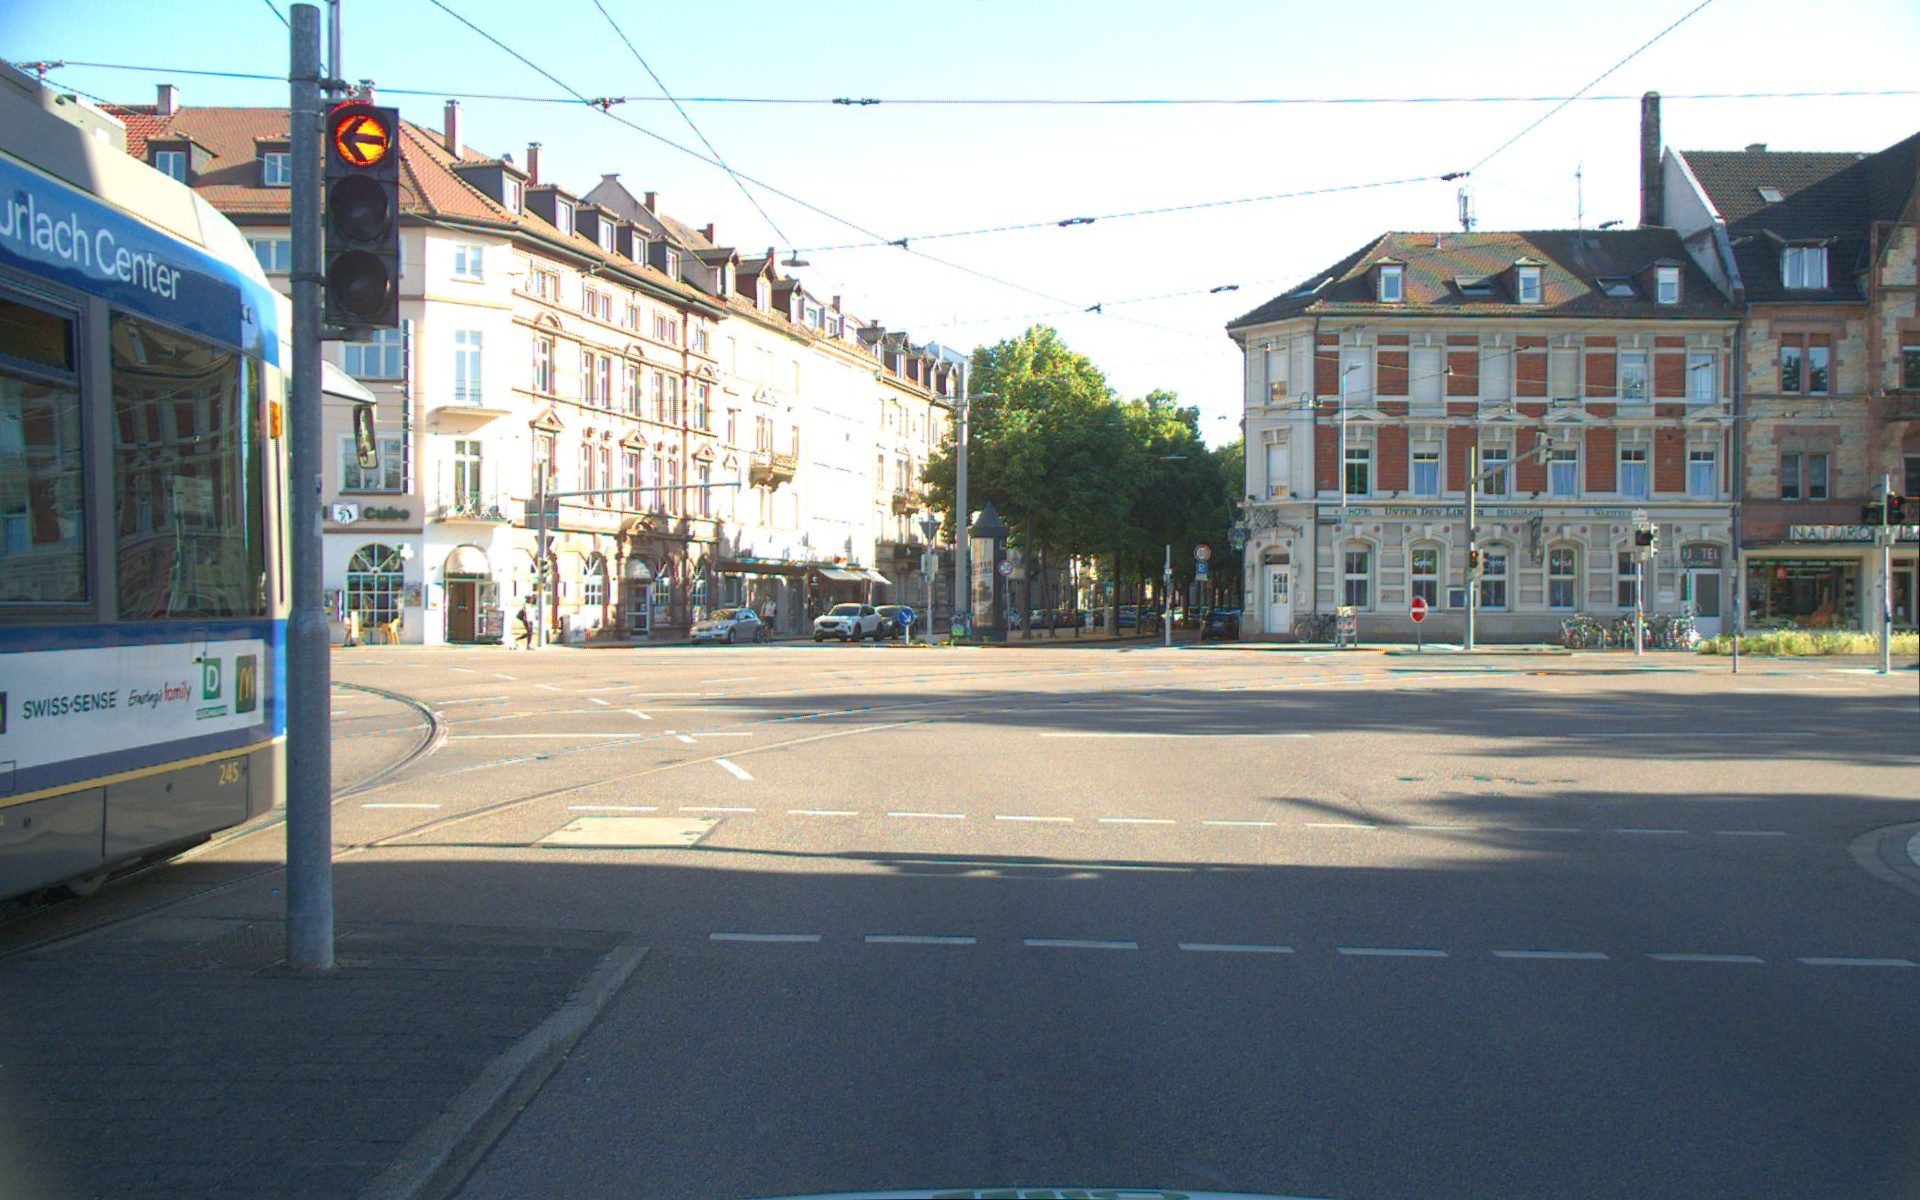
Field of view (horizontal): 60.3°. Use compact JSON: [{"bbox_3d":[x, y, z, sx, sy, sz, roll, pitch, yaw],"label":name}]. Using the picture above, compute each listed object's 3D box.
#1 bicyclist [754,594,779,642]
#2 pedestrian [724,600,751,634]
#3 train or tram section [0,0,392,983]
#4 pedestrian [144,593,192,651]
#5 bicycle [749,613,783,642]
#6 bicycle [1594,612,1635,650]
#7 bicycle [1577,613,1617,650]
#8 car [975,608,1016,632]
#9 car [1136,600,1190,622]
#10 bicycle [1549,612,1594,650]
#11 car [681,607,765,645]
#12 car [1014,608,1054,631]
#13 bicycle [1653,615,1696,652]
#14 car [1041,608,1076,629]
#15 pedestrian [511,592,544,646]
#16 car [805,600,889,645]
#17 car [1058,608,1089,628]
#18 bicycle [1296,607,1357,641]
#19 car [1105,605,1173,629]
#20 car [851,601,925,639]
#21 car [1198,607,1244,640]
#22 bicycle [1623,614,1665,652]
[{"bbox_3d":[-7.587,0.689,64.906,0.664,1.852,1.071,0,0,12],"label":"bicyclist"},{"bbox_3d":[-10.273,0.769,76.378,0.908,1.562,1.138,0,0,13],"label":"pedestrian"},{"bbox_3d":[-4.626,-0.450,3.777,2.714,3.561,12.027,0,0,-1],"label":"train or tram section"},{"bbox_3d":[-24.895,0.676,51.981,0.985,1.806,0.942,0,0,14],"label":"pedestrian"},{"bbox_3d":[-7.598,1.076,64.864,0.665,1.085,2.127,0,0,12],"label":"bicycle"},{"bbox_3d":[21.163,0.996,53.484,0.605,1.163,2.175,0,0,4],"label":"bicycle"},{"bbox_3d":[20.591,1.002,53.514,0.605,1.163,2.175,0,0,4],"label":"bicycle"},{"bbox_3d":[2.410,1.316,110.965,1.951,1.512,4.003,0,0,13],"label":"car"},{"bbox_3d":[16.416,0.876,133.847,3.912,1.736,1.996,0,0,30],"label":"car"},{"bbox_3d":[19.819,0.991,53.633,0.789,1.163,2.175,0,0,4],"label":"bicycle"},{"bbox_3d":[-9.528,1.029,66.874,1.858,1.481,4.002,0,0,17],"label":"car"},{"bbox_3d":[5.525,1.415,122.713,1.951,1.640,4.393,0,0,17],"label":"car"},{"bbox_3d":[23.035,1.062,53.373,0.596,1.156,2.136,0,0,4],"label":"bicycle"},{"bbox_3d":[7.778,1.412,130.537,1.798,1.579,4.393,0,0,16],"label":"car"},{"bbox_3d":[-14.340,0.631,54.885,1.028,1.774,0.806,0,0,-13],"label":"pedestrian"},{"bbox_3d":[-4.545,0.879,67.228,1.951,1.713,4.393,0,0,17],"label":"car"},{"bbox_3d":[9.390,1.451,136.438,1.727,1.576,4.394,0,0,16],"label":"car"},{"bbox_3d":[12.749,0.819,57.557,2.045,1.144,0.366,1,-1,-5],"label":"bicycle"},{"bbox_3d":[12.498,1.185,115.514,4.290,1.640,1.998,0,0,26],"label":"car"},{"bbox_3d":[-3.150,0.856,73.763,1.951,1.640,4.393,0,0,17],"label":"car"},{"bbox_3d":[13.068,1.157,82.608,1.951,1.612,4.003,0,0,13],"label":"car"},{"bbox_3d":[22.070,1.059,53.425,0.605,1.163,2.175,0,0,4],"label":"bicycle"}]
